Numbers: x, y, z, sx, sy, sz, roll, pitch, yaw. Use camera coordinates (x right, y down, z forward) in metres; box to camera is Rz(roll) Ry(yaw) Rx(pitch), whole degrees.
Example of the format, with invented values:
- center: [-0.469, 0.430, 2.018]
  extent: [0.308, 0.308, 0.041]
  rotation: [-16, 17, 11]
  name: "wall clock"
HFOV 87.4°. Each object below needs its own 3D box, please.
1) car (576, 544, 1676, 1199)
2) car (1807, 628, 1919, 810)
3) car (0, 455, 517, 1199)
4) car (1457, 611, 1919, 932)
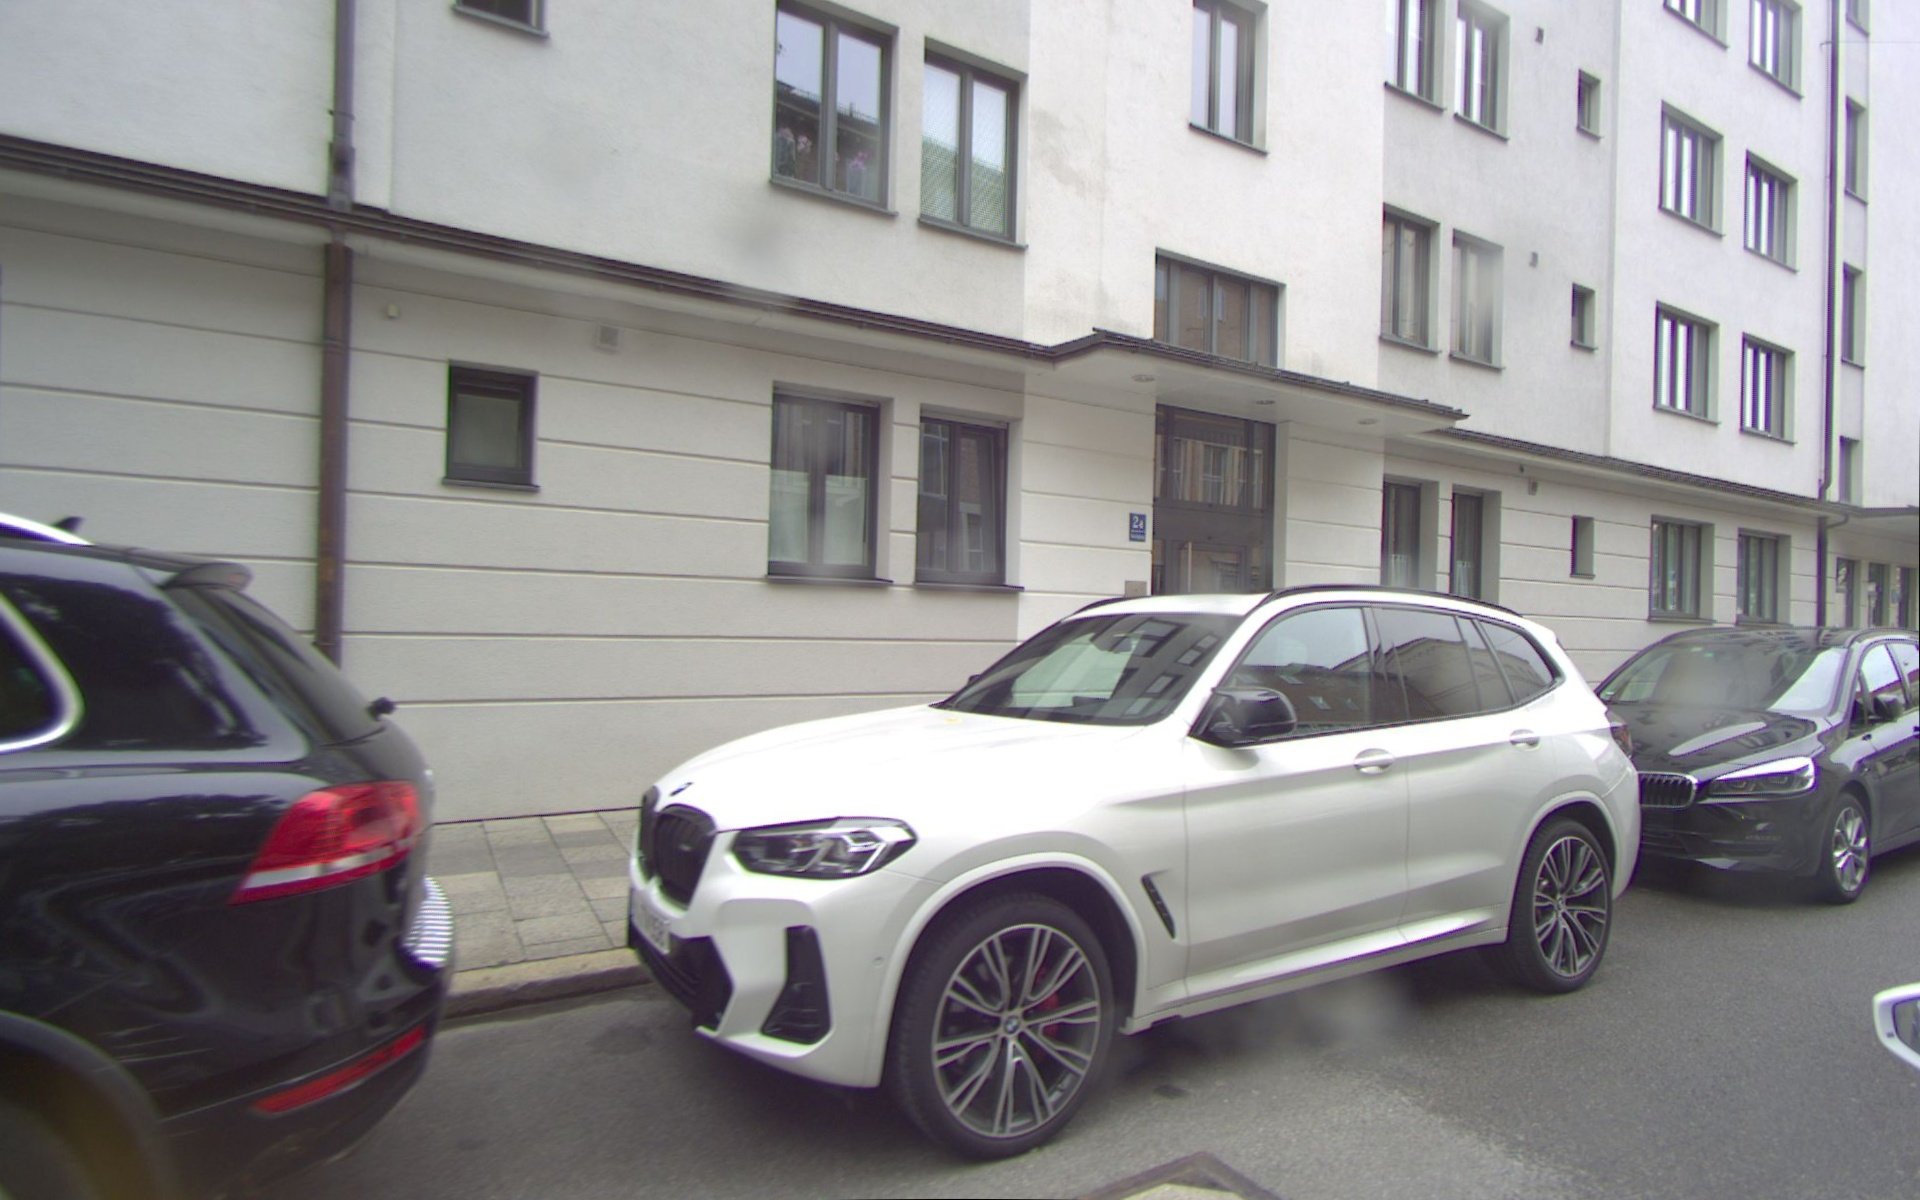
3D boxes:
- center: [0.907, 0.773, 4.308]
  extent: [4.537, 1.680, 1.863]
  rotation: [1, -2, -31]
  name: "car"
- center: [10.678, 1.131, 10.254]
  extent: [4.032, 1.680, 1.863]
  rotation: [1, -2, -30]
  name: "car"
- center: [-3.291, 0.619, 1.706]
  extent: [4.468, 1.710, 1.863]
  rotation: [1, -2, -31]
  name: "car"
- center: [5.795, 0.965, 7.319]
  extent: [4.541, 1.680, 1.862]
  rotation: [1, -2, -33]
  name: "car"
